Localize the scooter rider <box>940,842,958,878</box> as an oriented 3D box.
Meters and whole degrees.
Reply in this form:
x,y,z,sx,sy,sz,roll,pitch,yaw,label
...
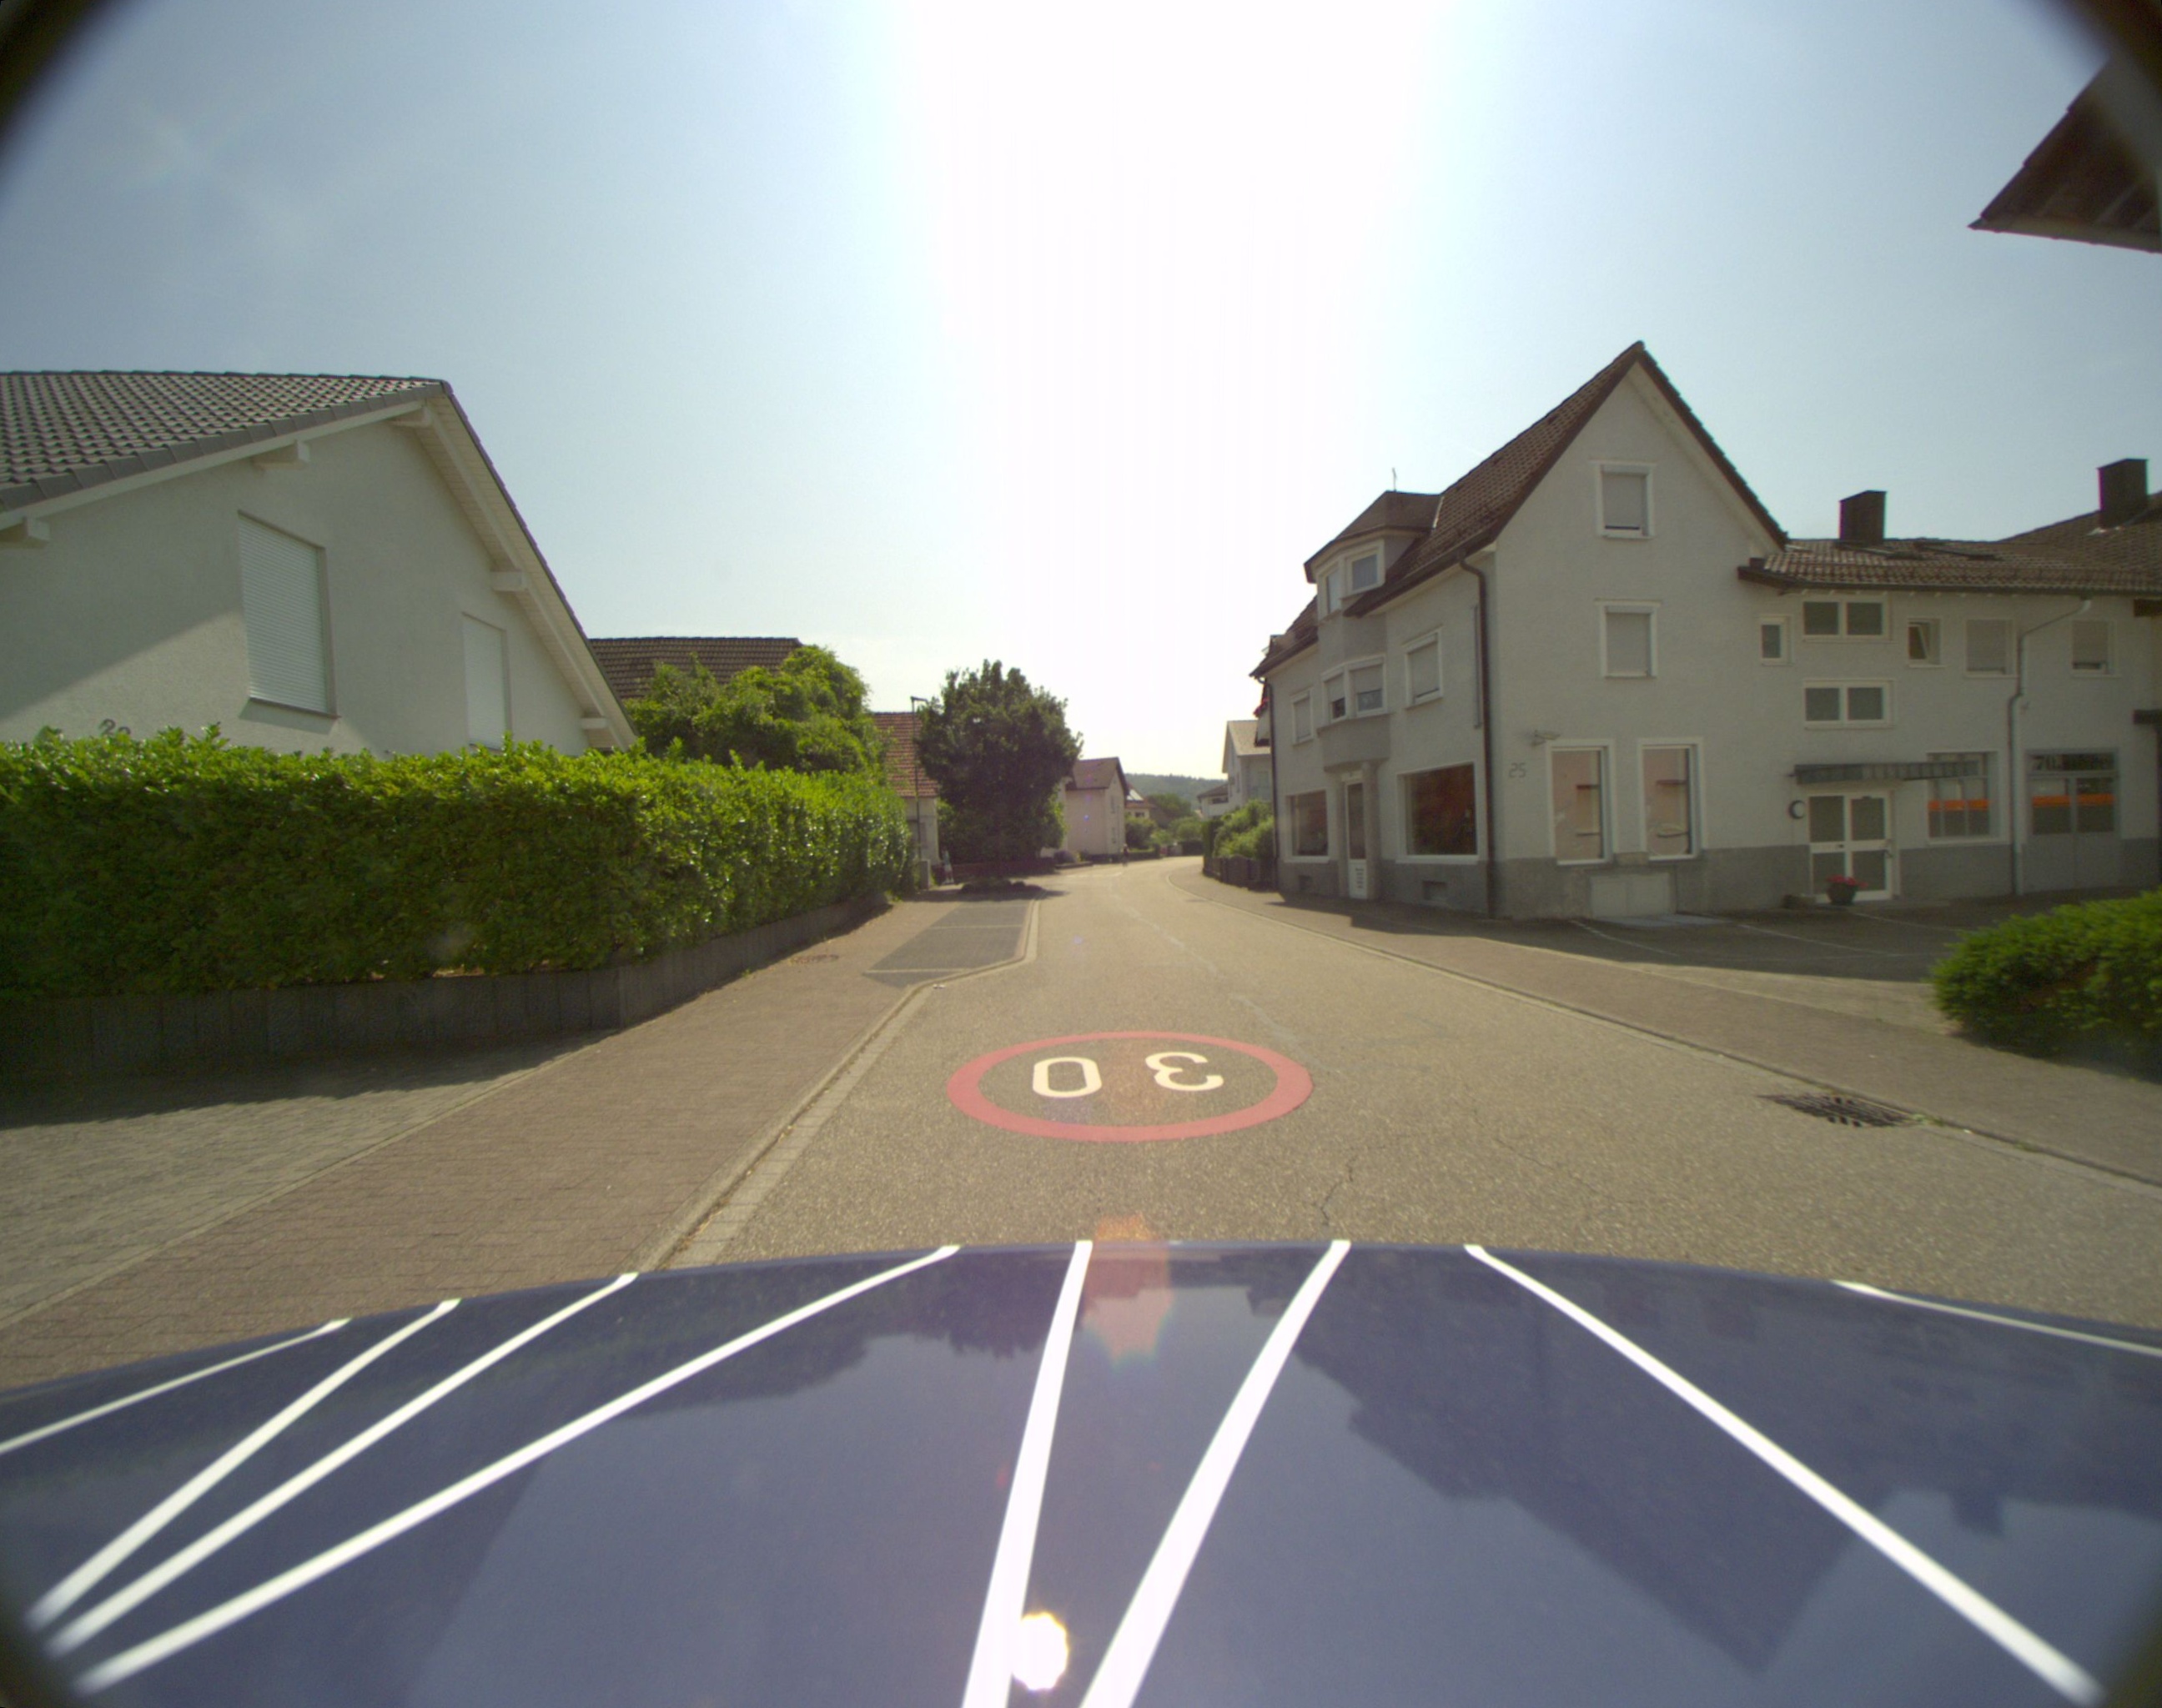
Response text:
x,y,z,sx,sy,sz,roll,pitch,yaw,label
-6.425,0.278,36.951,0.616,1.714,0.640,-2,2,12,scooter rider

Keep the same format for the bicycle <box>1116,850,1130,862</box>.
x,y,z,sx,sy,sz,roll,pitch,yaw,label
3.230,0.158,57.901,0.520,0.899,1.315,-1,2,28,bicycle

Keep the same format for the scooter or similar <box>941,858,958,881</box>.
x,y,z,sx,sy,sz,roll,pitch,yaw,label
-6.402,0.764,36.969,0.542,1.083,0.691,-2,2,12,scooter or similar

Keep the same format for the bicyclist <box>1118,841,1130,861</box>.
x,y,z,sx,sy,sz,roll,pitch,yaw,label
3.302,-0.231,58.057,0.546,1.481,0.798,-1,2,28,bicyclist
